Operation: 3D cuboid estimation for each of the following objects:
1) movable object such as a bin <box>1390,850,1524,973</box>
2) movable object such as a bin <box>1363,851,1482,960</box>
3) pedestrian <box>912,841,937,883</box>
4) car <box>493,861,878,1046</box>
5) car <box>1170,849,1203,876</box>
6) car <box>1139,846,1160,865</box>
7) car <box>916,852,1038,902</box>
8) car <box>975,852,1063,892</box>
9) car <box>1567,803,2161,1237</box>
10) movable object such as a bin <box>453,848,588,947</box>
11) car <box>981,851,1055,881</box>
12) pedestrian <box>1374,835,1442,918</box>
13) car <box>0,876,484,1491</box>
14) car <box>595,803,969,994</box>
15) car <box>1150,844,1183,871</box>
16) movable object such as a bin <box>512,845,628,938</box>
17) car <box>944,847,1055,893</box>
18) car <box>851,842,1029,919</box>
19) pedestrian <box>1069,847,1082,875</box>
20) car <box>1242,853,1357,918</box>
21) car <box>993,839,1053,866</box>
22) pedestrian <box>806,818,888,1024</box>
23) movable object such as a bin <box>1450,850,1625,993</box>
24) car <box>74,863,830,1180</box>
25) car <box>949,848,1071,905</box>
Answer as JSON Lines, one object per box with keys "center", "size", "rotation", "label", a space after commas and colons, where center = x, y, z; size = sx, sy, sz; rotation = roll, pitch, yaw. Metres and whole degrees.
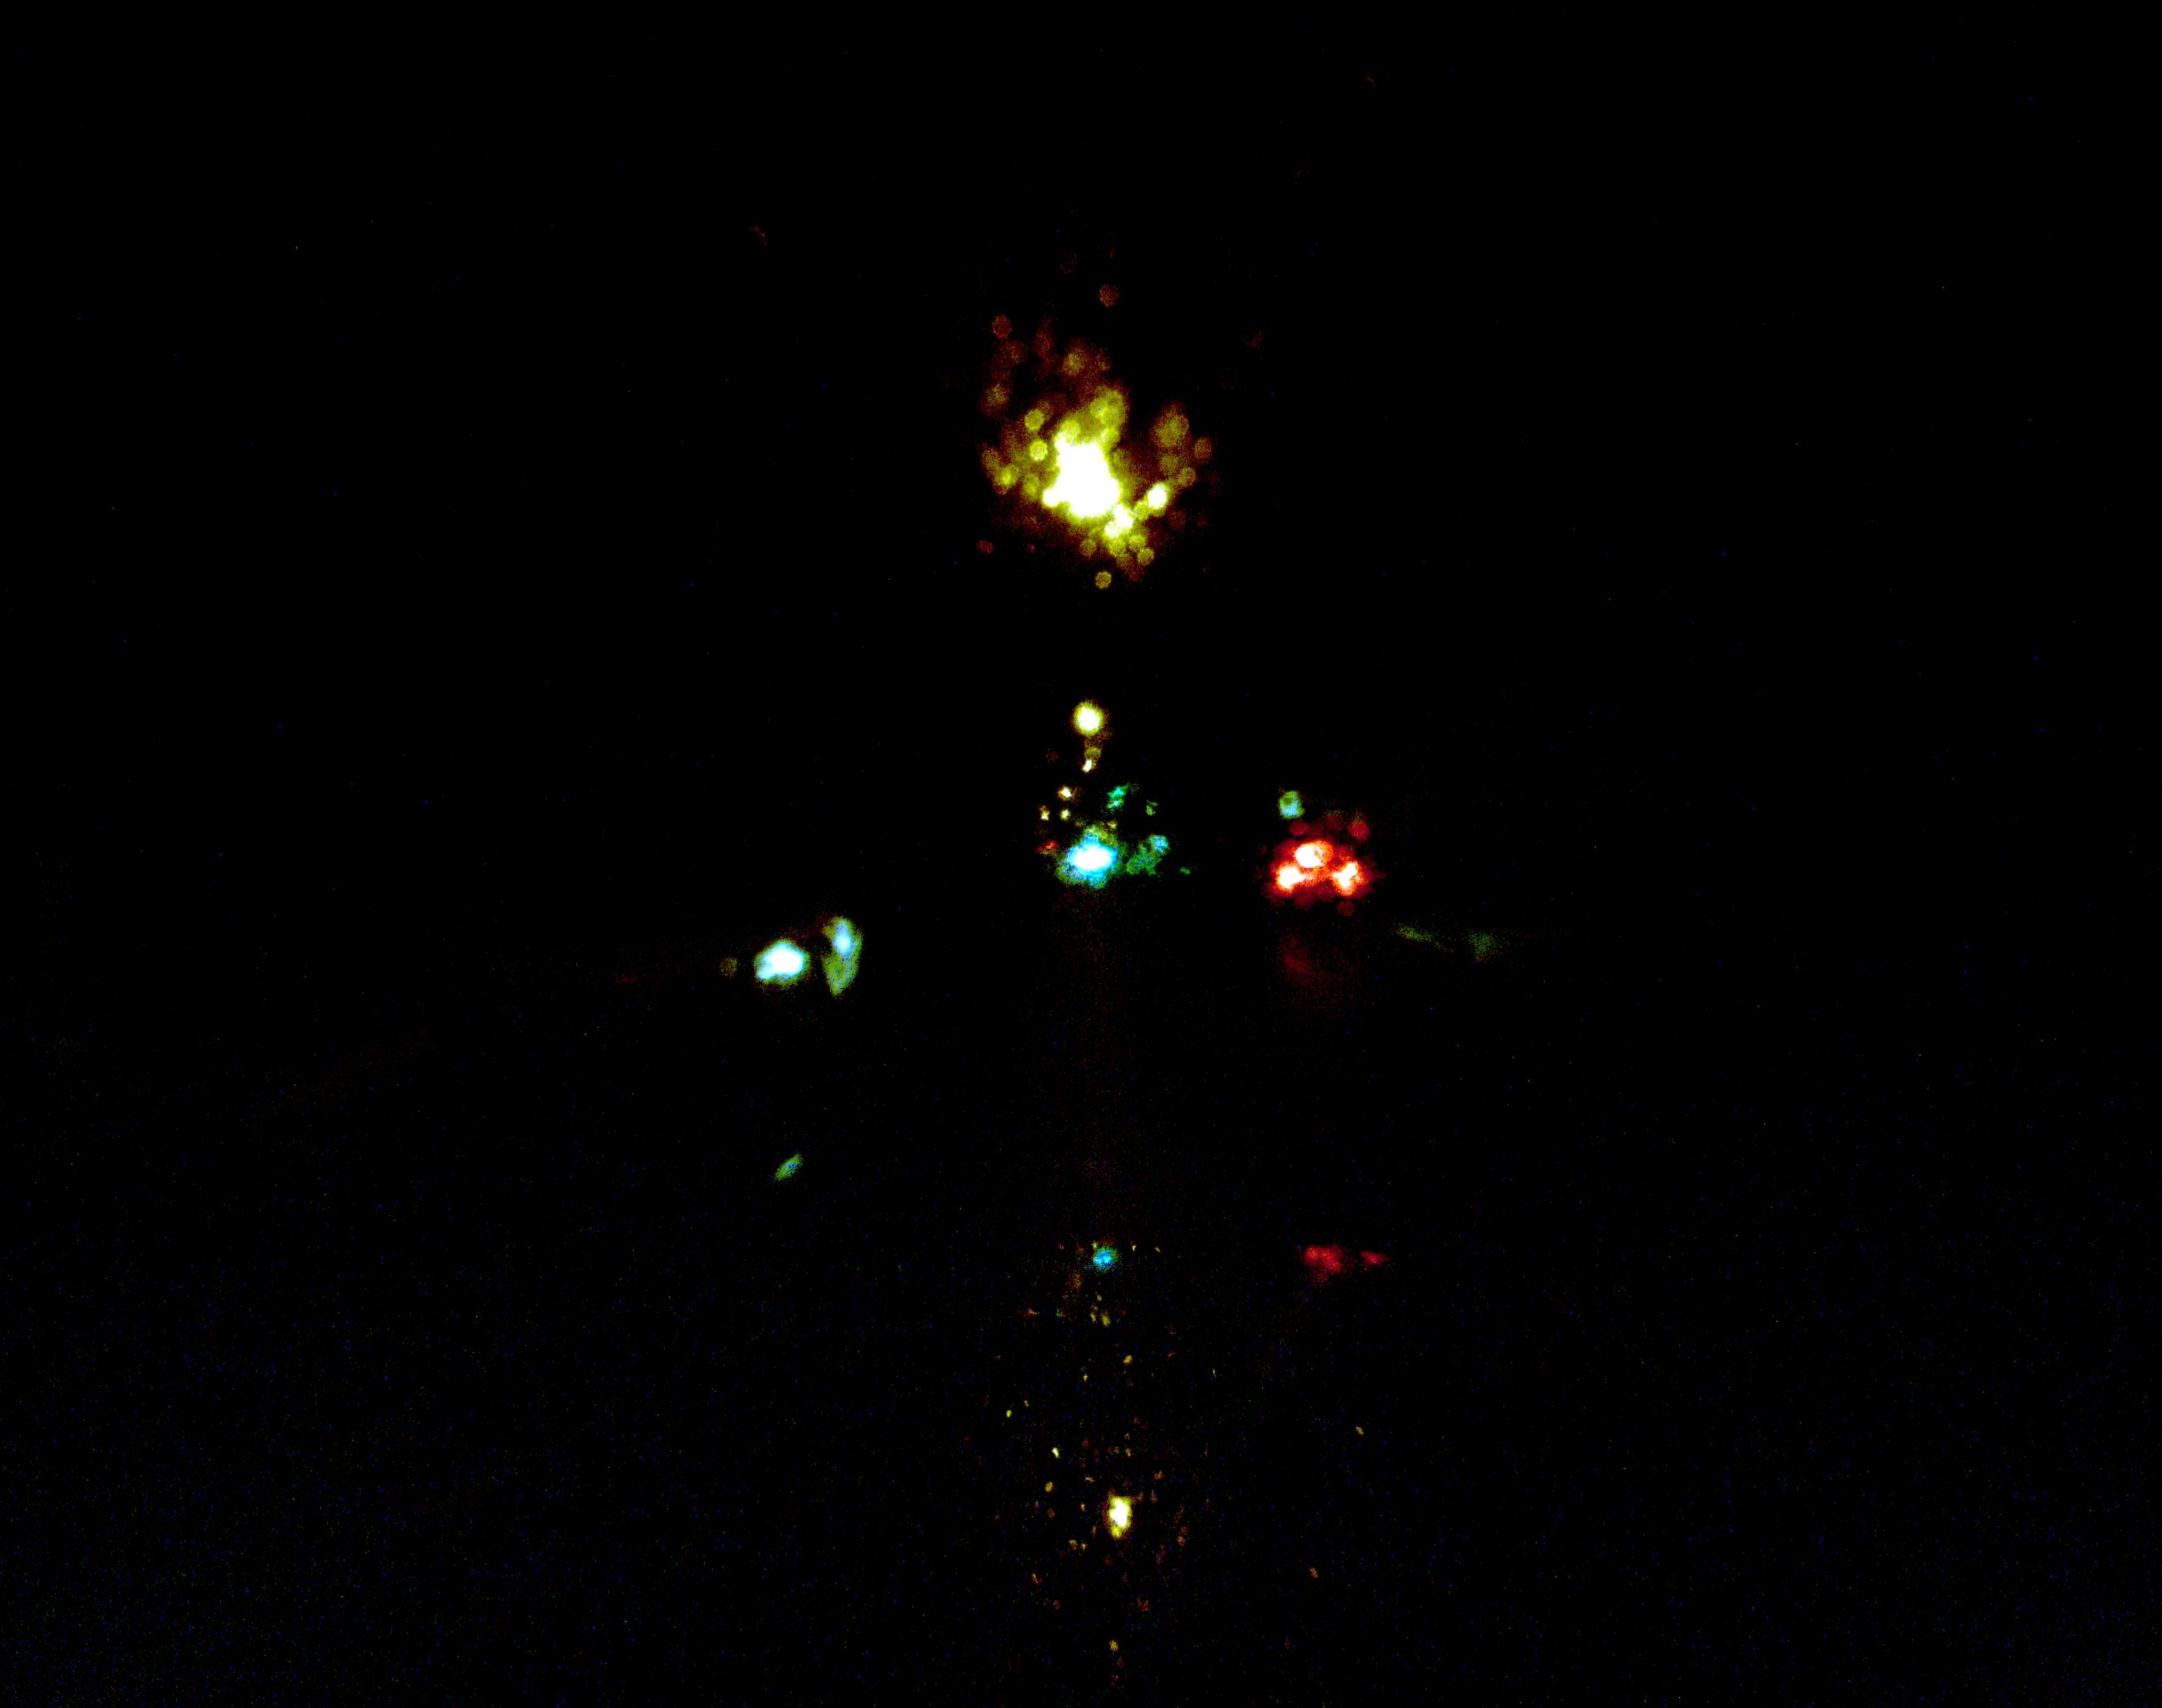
{"center": [4.816, 0.707, 9.836], "size": [1.167, 1.451, 1.107], "rotation": [-3, 1, 3], "label": "movable object such as a bin"}
{"center": [4.906, 0.709, 11.011], "size": [1.211, 1.451, 1.107], "rotation": [-3, 1, 3], "label": "movable object such as a bin"}
{"center": [-7.013, 0.352, 34.055], "size": [0.840, 1.825, 0.947], "rotation": [4, 2, -3], "label": "pedestrian"}
{"center": [-4.117, 0.873, 8.171], "size": [3.407, 1.533, 1.573], "rotation": [0, 1, -35], "label": "car"}
{"center": [6.161, 0.462, 44.648], "size": [1.550, 1.434, 3.563], "rotation": [-3, 0, 4], "label": "car"}
{"center": [6.323, 0.157, 69.608], "size": [1.815, 1.660, 4.413], "rotation": [-1, 0, 6], "label": "car"}
{"center": [-3.845, 0.796, 28.156], "size": [4.068, 1.601, 1.840], "rotation": [-2, 1, -29], "label": "car"}
{"center": [-2.781, 0.772, 34.165], "size": [3.569, 1.601, 1.710], "rotation": [-2, 1, -21], "label": "car"}
{"center": [5.033, 0.615, 4.759], "size": [1.607, 1.696, 3.721], "rotation": [-2, 1, 1], "label": "car"}
{"center": [-8.557, 0.636, 11.655], "size": [1.258, 1.364, 0.998], "rotation": [3, 1, 1], "label": "movable object such as a bin"}
{"center": [-3.451, 0.658, 41.707], "size": [3.717, 1.514, 1.653], "rotation": [1, 1, -24], "label": "car"}
{"center": [7.222, 0.482, 16.829], "size": [1.135, 1.772, 0.788], "rotation": [-1, 1, 1], "label": "pedestrian"}
{"center": [-4.302, 0.913, 2.175], "size": [4.008, 1.543, 1.994], "rotation": [0, 1, -37], "label": "car"}
{"center": [-4.205, 0.501, 11.051], "size": [4.734, 2.235, 1.941], "rotation": [0, 1, -35], "label": "car"}
{"center": [6.046, 0.210, 54.159], "size": [1.871, 1.835, 4.827], "rotation": [0, 1, 2], "label": "car"}
{"center": [-8.614, 0.603, 12.854], "size": [1.212, 1.443, 0.998], "rotation": [3, 1, 1], "label": "movable object such as a bin"}
{"center": [-3.325, 0.617, 31.100], "size": [4.113, 1.754, 1.855], "rotation": [0, 0, -27], "label": "car"}
{"center": [-3.676, 0.654, 20.114], "size": [4.256, 1.848, 1.712], "rotation": [1, 1, -34], "label": "car"}
{"center": [-0.342, 0.436, 47.977], "size": [0.824, 1.760, 1.177], "rotation": [0, 1, 0], "label": "pedestrian"}
{"center": [5.240, 0.689, 18.797], "size": [1.658, 1.351, 4.222], "rotation": [-1, 0, 1], "label": "car"}
{"center": [-5.229, -0.168, 68.904], "size": [4.950, 2.327, 2.226], "rotation": [-1, 1, -33], "label": "car"}
{"center": [-2.414, 0.657, 7.826], "size": [0.645, 2.002, 0.676], "rotation": [1, 0, -30], "label": "pedestrian"}
{"center": [5.100, 0.714, 8.604], "size": [1.265, 1.451, 1.151], "rotation": [-3, 1, 3], "label": "movable object such as a bin"}
{"center": [-3.827, 0.866, 5.395], "size": [3.659, 1.533, 1.556], "rotation": [0, 1, -29], "label": "car"}
{"center": [-2.441, 0.730, 26.337], "size": [3.809, 1.718, 1.737], "rotation": [-2, 1, -30], "label": "car"}
